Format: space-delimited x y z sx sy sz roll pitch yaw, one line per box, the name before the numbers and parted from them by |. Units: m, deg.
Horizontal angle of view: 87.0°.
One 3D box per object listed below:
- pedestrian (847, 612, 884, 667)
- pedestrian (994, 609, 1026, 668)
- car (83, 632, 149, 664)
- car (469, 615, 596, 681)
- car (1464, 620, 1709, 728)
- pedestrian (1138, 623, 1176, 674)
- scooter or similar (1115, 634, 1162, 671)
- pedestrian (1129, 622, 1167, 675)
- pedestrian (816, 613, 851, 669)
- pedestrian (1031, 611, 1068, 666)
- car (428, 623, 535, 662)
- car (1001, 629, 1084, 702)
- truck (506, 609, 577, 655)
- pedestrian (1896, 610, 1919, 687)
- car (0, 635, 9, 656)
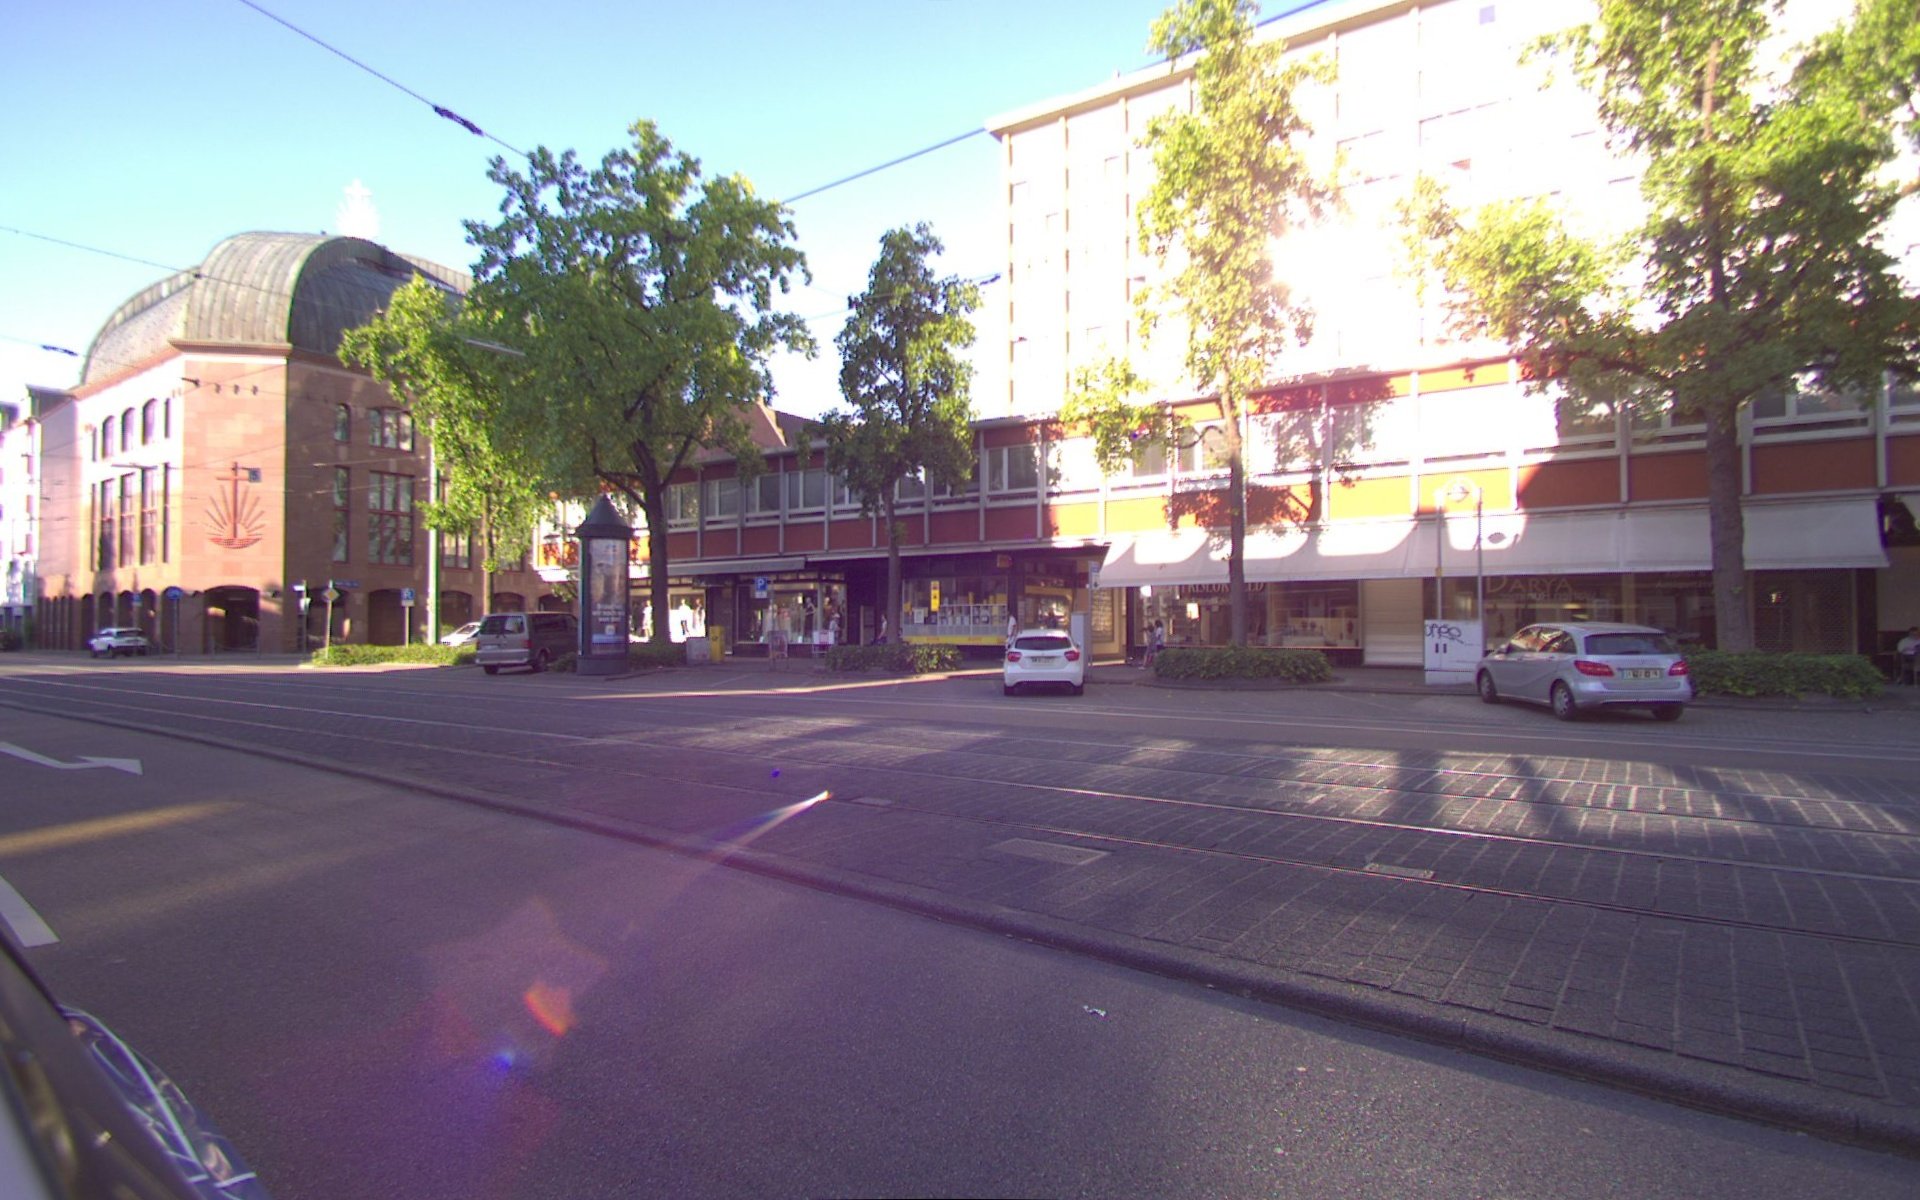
pedestrian | -3.284 1.363 35.209 0.897 1.892 0.909 -2 -2 33
pedestrian | 1.680 1.288 34.130 0.892 1.963 0.991 -1 -2 15
car | -45.592 2.571 54.642 4.266 1.602 1.582 -1 0 34
car | -14.106 1.516 33.748 1.830 1.943 5.116 0 0 4
car | 10.618 1.169 17.587 1.804 1.578 4.274 0 0 4
pedestrian | 5.815 1.418 29.874 0.897 1.481 0.681 -2 -2 33
scooter or similar | 5.433 1.586 30.876 1.334 1.102 0.470 -1 -1 34
pedestrian | 5.444 1.397 29.276 0.897 1.509 0.681 -2 -2 33
pedestrian | -4.360 1.407 34.756 0.903 1.892 0.903 1 -2 -32
pedestrian | 3.099 1.339 35.141 0.918 1.892 0.888 -2 -3 39
car | -26.317 2.295 55.863 2.127 1.982 4.938 2 0 33
car | 1.919 1.460 23.705 1.744 1.440 4.264 -1 0 5
truck | -26.220 2.007 63.359 4.515 2.784 1.836 -1 -2 32
pedestrian | 19.924 0.996 20.914 0.705 1.575 0.865 -2 -2 35
car | -67.415 3.169 70.100 3.676 1.411 1.627 -1 -1 36
